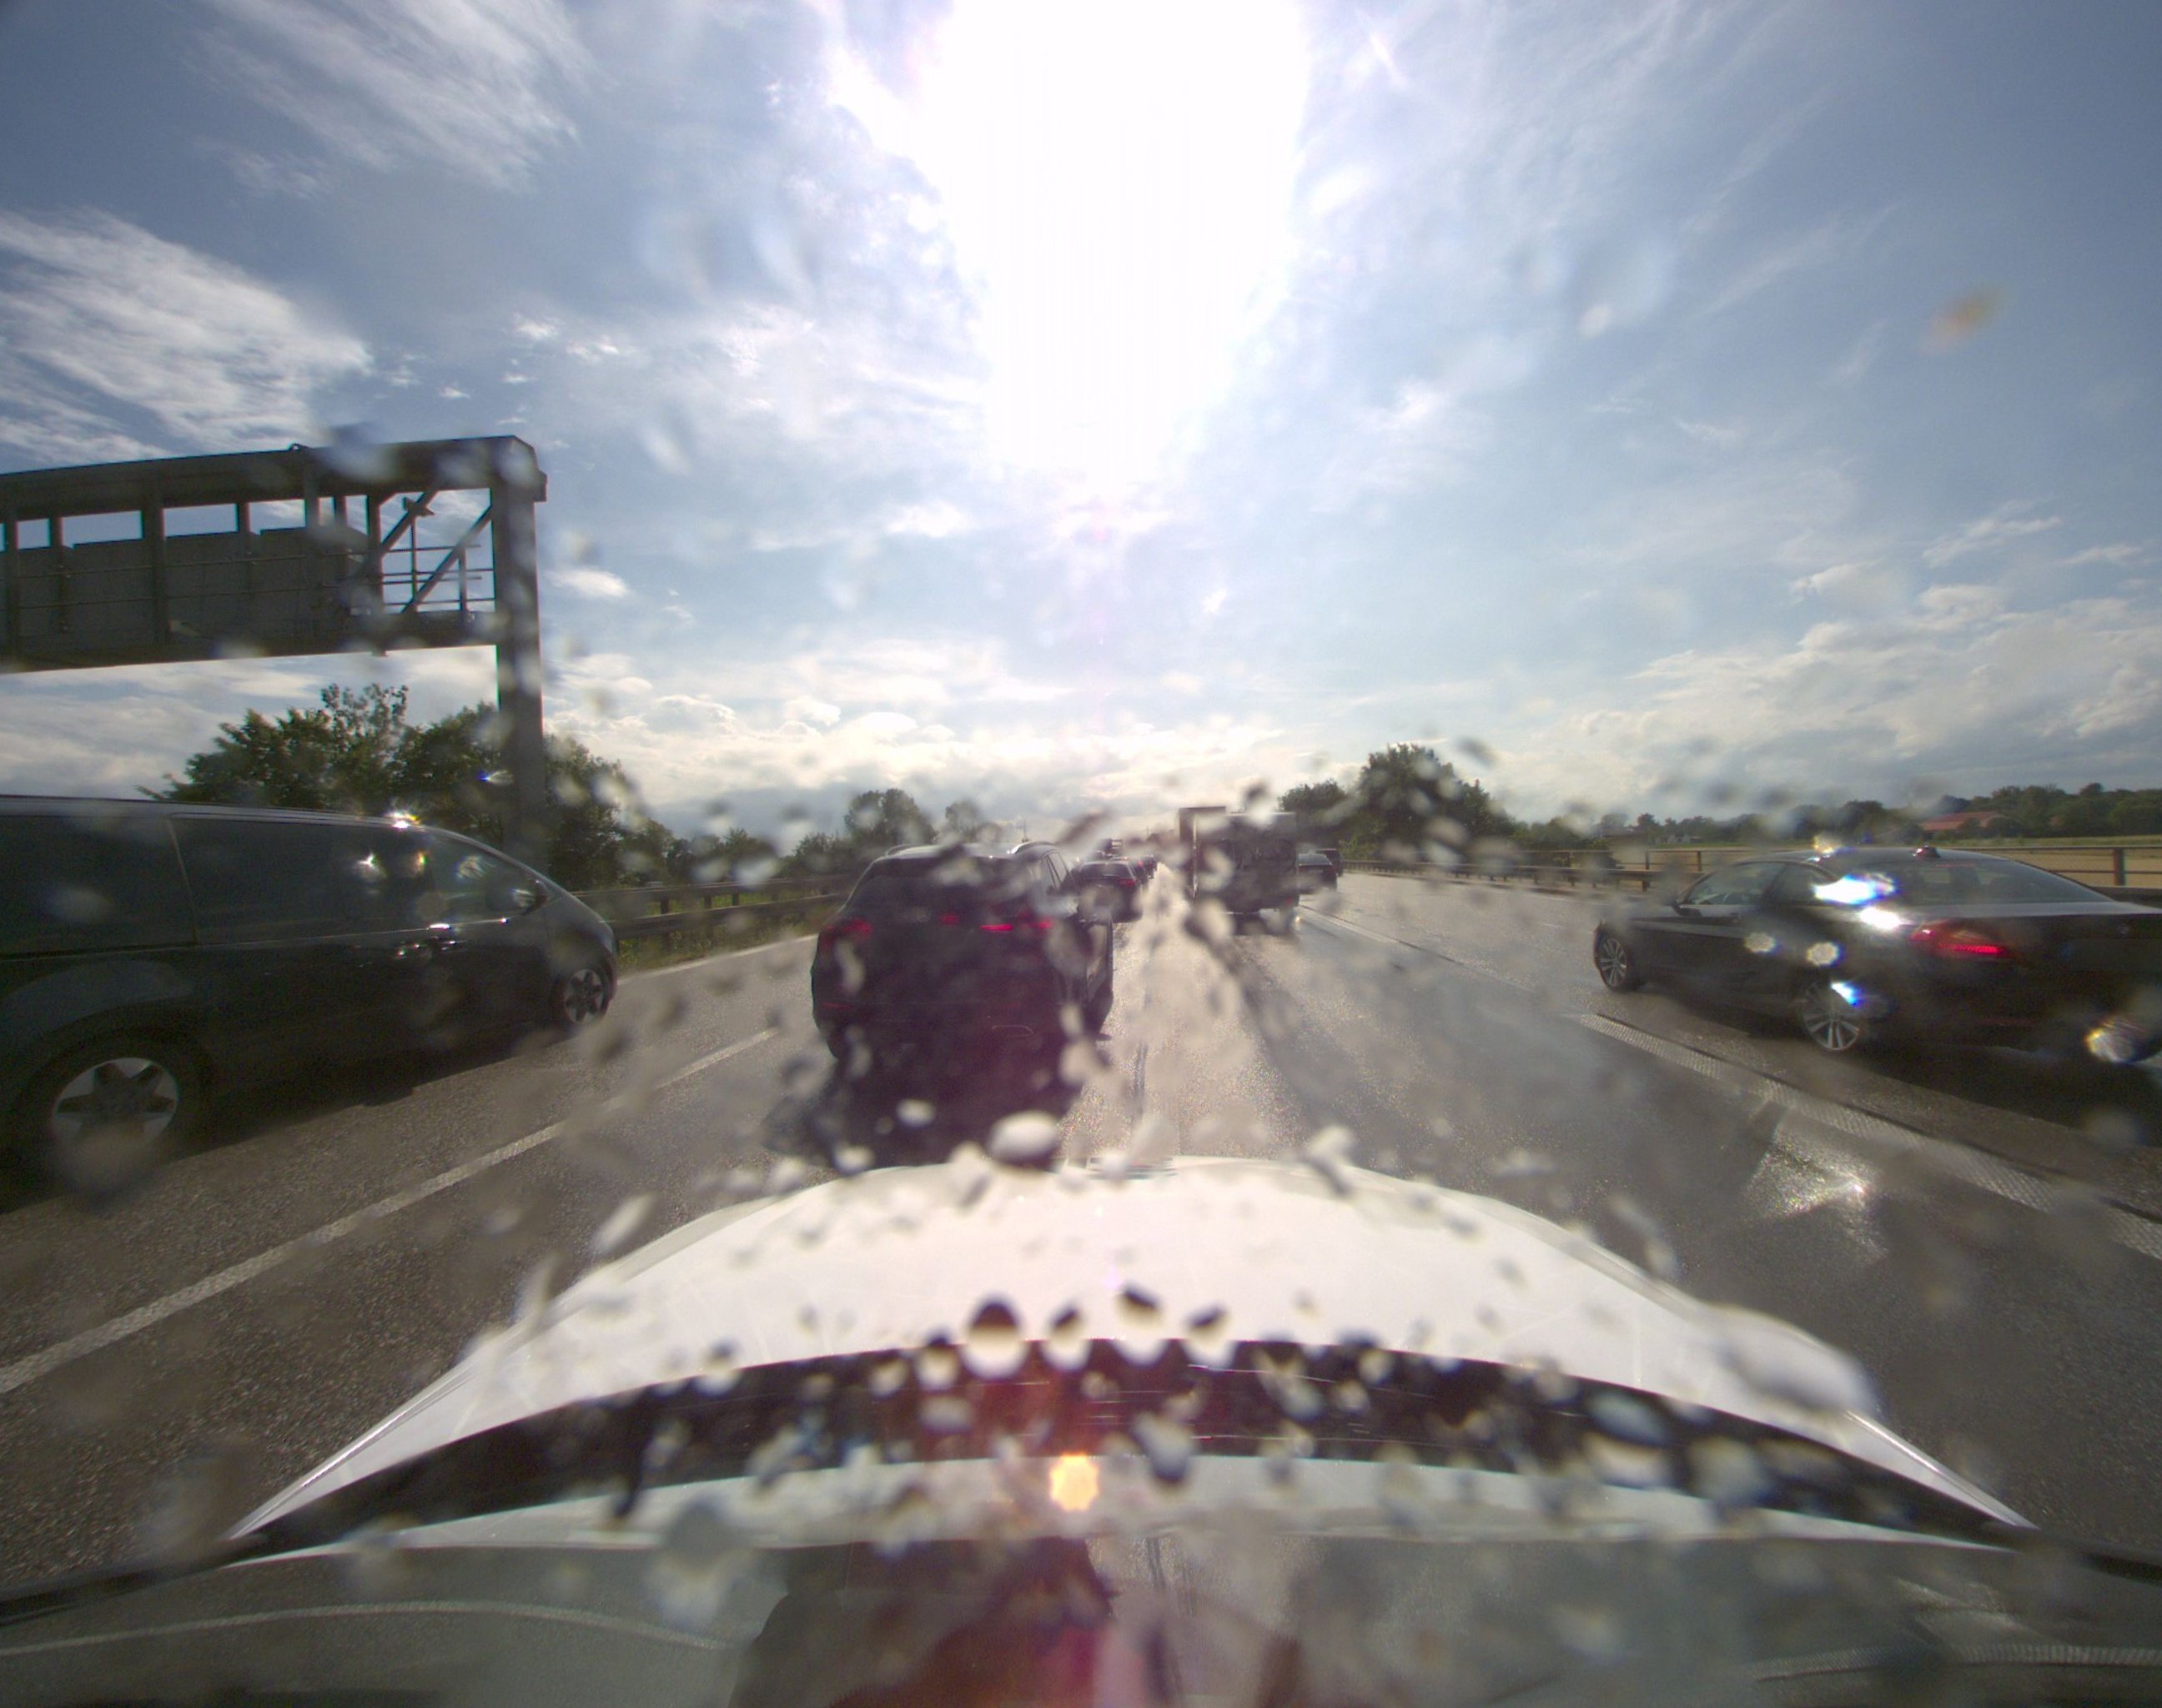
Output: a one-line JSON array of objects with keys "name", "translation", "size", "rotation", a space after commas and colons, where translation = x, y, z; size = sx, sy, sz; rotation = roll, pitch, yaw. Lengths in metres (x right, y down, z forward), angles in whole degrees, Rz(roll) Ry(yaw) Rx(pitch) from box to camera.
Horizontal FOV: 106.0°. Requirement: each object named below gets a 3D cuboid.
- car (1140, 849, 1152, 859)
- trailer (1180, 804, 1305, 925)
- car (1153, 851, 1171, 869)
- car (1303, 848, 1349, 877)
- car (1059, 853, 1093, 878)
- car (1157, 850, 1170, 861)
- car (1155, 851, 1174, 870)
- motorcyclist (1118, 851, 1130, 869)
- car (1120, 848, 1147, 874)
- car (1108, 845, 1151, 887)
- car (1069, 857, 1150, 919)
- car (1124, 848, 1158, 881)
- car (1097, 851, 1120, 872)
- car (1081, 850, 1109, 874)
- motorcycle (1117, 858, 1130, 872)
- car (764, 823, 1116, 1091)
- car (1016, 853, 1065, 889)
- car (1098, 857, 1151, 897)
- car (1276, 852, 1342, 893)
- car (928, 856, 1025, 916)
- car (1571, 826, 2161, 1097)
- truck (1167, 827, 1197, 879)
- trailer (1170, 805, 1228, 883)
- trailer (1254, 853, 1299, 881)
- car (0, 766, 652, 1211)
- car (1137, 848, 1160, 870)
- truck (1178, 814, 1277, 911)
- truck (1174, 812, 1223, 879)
[{"name": "car", "translation": [11.028, 0.043, 139.023], "size": [1.868, 1.760, 4.003], "rotation": [-1, 0, 3]}, {"name": "trailer", "translation": [3.747, 0.235, 20.137], "size": [2.362, 2.483, 6.533], "rotation": [-1, 0, 5]}, {"name": "car", "translation": [9.807, 0.691, 98.394], "size": [1.983, 2.013, 4.007], "rotation": [2, 0, 6]}, {"name": "car", "translation": [14.507, 0.475, 48.382], "size": [1.779, 1.613, 4.392], "rotation": [-2, 0, 6]}, {"name": "car", "translation": [-0.320, 0.839, 60.077], "size": [1.983, 1.772, 4.007], "rotation": [-1, 0, 6]}, {"name": "car", "translation": [13.547, 0.293, 134.376], "size": [1.868, 1.760, 4.003], "rotation": [-1, 0, 3]}, {"name": "car", "translation": [9.079, 0.646, 87.973], "size": [1.983, 2.013, 4.007], "rotation": [0, 0, 6]}, {"name": "motorcyclist", "translation": [4.109, 0.553, 78.415], "size": [1.058, 1.718, 0.786], "rotation": [-1, -1, 6]}, {"name": "car", "translation": [4.251, 0.566, 65.557], "size": [1.983, 2.013, 4.007], "rotation": [-1, 0, 6]}, {"name": "car", "translation": [2.531, 0.589, 41.899], "size": [1.983, 2.013, 4.007], "rotation": [-1, 0, 6]}, {"name": "car", "translation": [0.831, 0.813, 21.182], "size": [1.748, 1.387, 3.952], "rotation": [-2, 0, 6]}, {"name": "car", "translation": [4.008, 0.669, 53.687], "size": [1.983, 2.013, 4.007], "rotation": [2, 0, 6]}, {"name": "car", "translation": [2.775, 0.723, 82.201], "size": [1.983, 2.013, 4.007], "rotation": [-1, 0, 6]}, {"name": "car", "translation": [1.258, 0.703, 71.448], "size": [1.983, 2.013, 4.007], "rotation": [2, 0, 6]}, {"name": "motorcycle", "translation": [4.101, 1.014, 78.228], "size": [1.068, 1.271, 2.695], "rotation": [-2, 0, 6]}, {"name": "car", "translation": [-0.814, 0.675, 7.346], "size": [1.984, 1.661, 4.412], "rotation": [-2, -1, 5]}, {"name": "car", "translation": [-1.970, 0.831, 40.881], "size": [1.984, 1.720, 4.004], "rotation": [-1, 0, 4]}, {"name": "car", "translation": [1.730, 0.847, 31.351], "size": [1.797, 1.407, 4.006], "rotation": [-1, 0, 6]}, {"name": "car", "translation": [8.608, 0.674, 31.065], "size": [1.732, 1.420, 3.841], "rotation": [-2, 0, 5]}, {"name": "car", "translation": [-2.893, 0.841, 23.368], "size": [1.748, 1.516, 4.216], "rotation": [-2, 0, 6]}, {"name": "car", "translation": [6.040, 0.601, 6.607], "size": [1.839, 1.464, 4.262], "rotation": [-2, -1, 6]}, {"name": "truck", "translation": [9.693, -0.073, 78.940], "size": [2.490, 4.830, 7.552], "rotation": [-1, 0, 5]}, {"name": "trailer", "translation": [6.935, -0.521, 48.078], "size": [2.990, 4.166, 8.554], "rotation": [-1, 0, 8]}, {"name": "trailer", "translation": [10.933, 0.691, 45.761], "size": [1.845, 1.442, 4.154], "rotation": [-2, 0, 5]}, {"name": "car", "translation": [-5.671, 0.634, 5.750], "size": [1.983, 2.013, 5.279], "rotation": [-2, 0, 6]}, {"name": "car", "translation": [6.484, 0.468, 77.650], "size": [1.983, 2.013, 4.007], "rotation": [-2, 0, 6]}, {"name": "truck", "translation": [4.117, 0.241, 23.851], "size": [2.362, 2.477, 5.764], "rotation": [-1, 0, 5]}, {"name": "truck", "translation": [7.695, -0.514, 53.559], "size": [2.979, 4.166, 5.251], "rotation": [-1, 0, 8]}]
